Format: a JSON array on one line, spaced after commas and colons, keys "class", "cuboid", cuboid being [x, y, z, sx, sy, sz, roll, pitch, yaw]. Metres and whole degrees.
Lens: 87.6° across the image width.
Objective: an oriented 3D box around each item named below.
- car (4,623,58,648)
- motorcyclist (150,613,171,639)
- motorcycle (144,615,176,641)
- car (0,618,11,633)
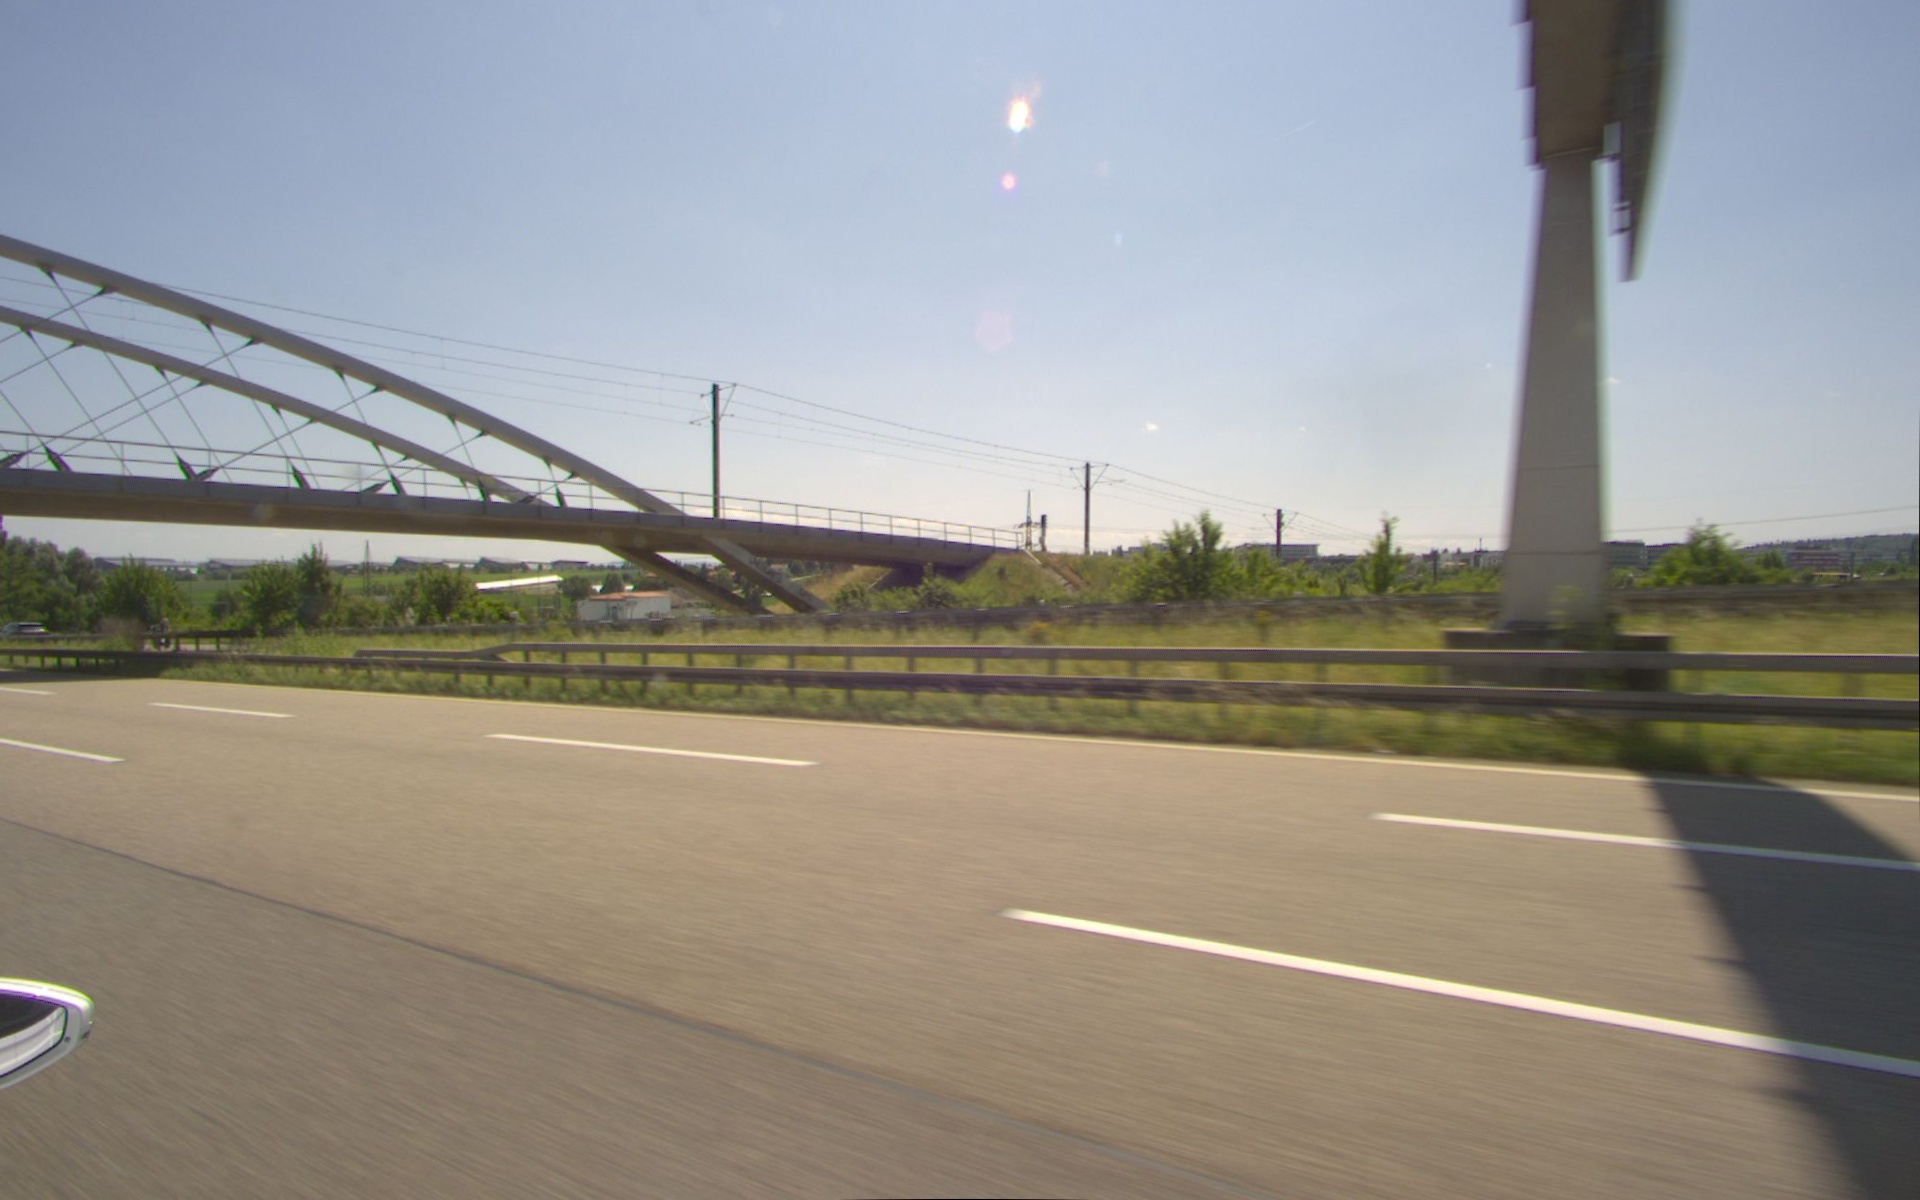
[{"class": "car", "cuboid": [-60.896, 2.315, 65.627, 4.071, 1.595, 1.696, -1, -2, 34]}, {"class": "motorcyclist", "cuboid": [-43.550, 1.416, 54.552, 0.866, 1.384, 0.667, -1, -1, 32]}, {"class": "motorcycle", "cuboid": [-43.605, 1.529, 54.589, 1.842, 1.384, 0.759, -1, -1, 32]}, {"class": "car", "cuboid": [-82.232, 2.177, 84.801, 3.942, 1.293, 1.697, -1, -2, 32]}]
